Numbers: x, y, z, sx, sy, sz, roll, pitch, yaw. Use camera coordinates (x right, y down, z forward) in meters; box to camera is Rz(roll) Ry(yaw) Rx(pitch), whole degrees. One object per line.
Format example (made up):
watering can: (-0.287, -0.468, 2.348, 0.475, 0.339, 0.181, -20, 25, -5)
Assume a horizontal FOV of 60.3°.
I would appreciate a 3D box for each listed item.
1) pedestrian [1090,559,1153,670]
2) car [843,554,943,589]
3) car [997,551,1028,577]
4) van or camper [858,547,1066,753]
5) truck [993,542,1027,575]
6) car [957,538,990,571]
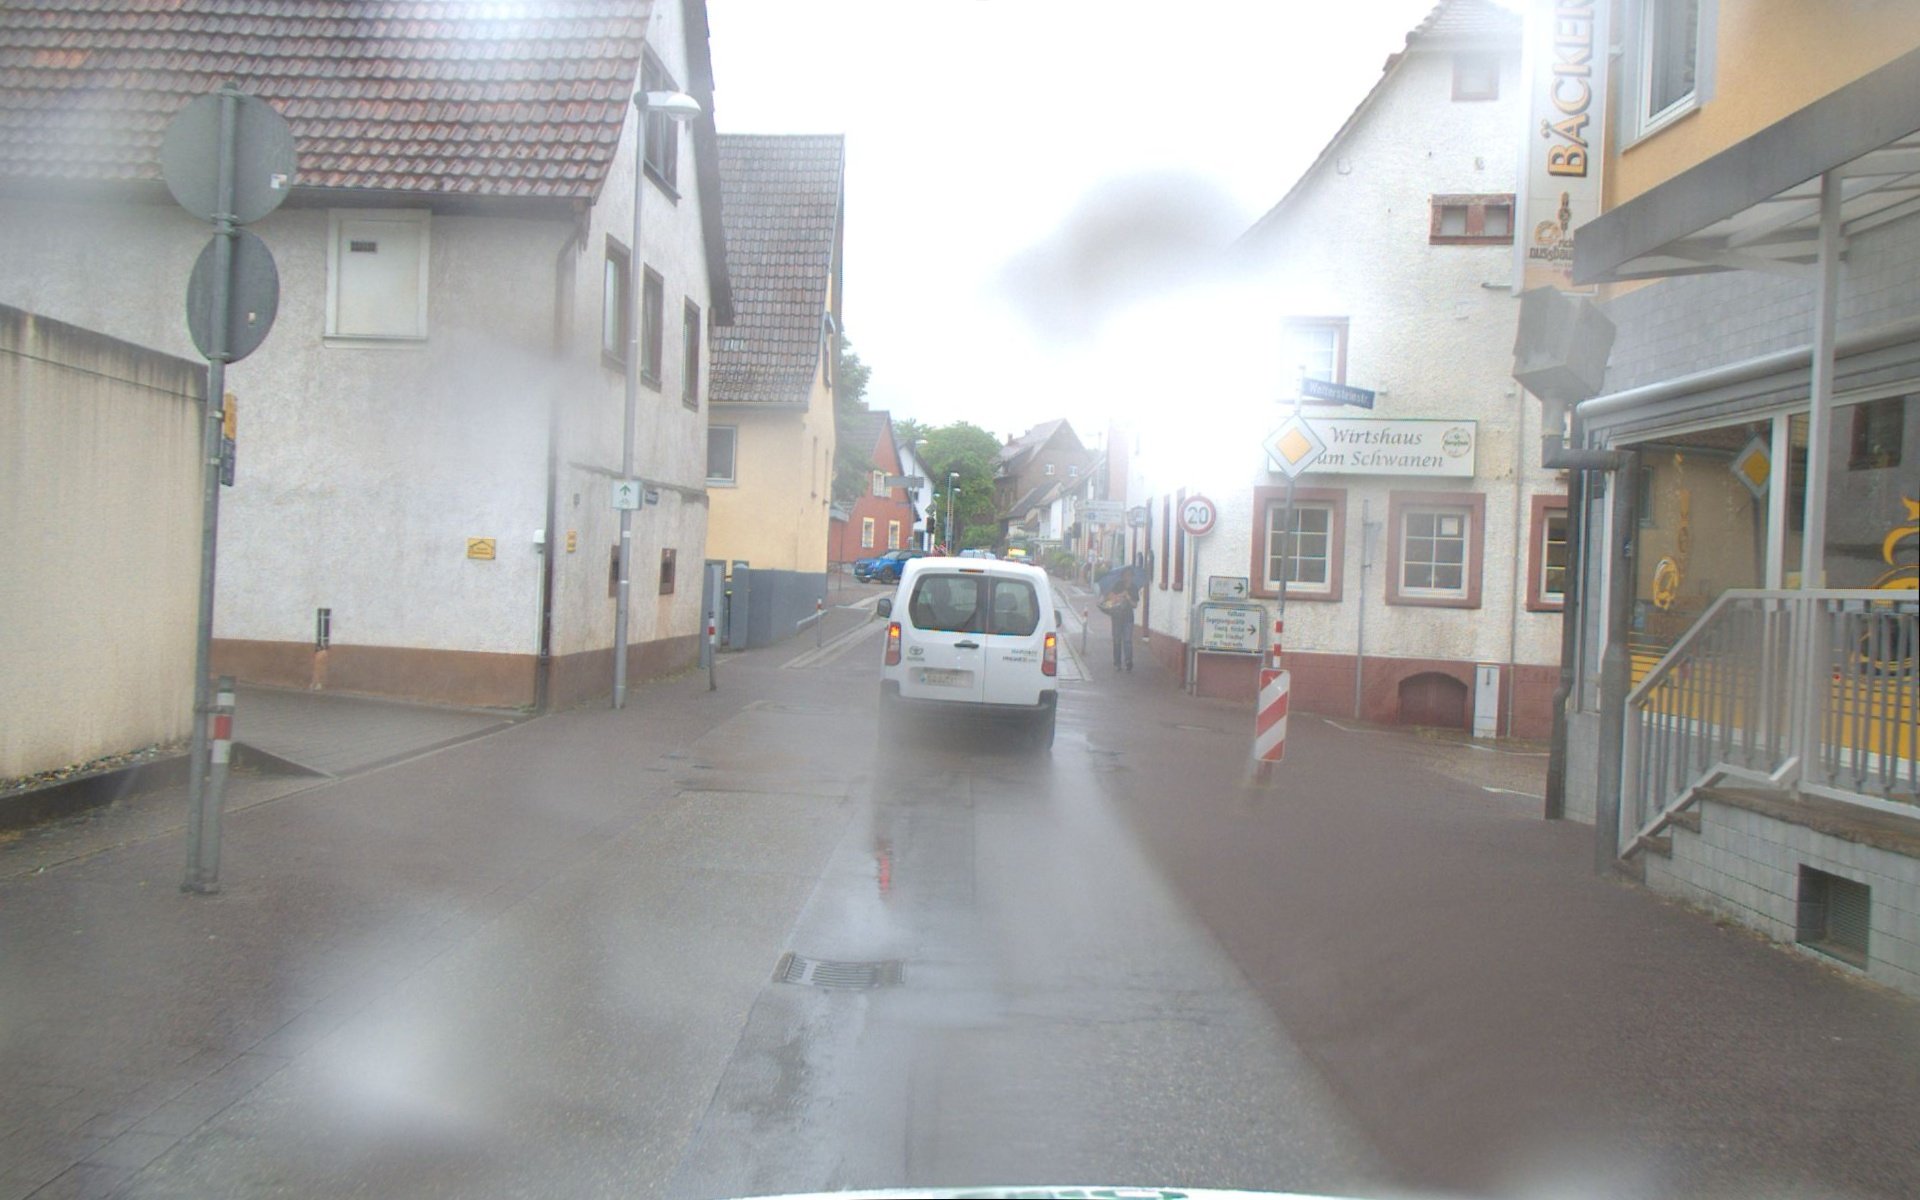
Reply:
pedestrian: (2.700, 0.225, 27.692, 0.973, 1.765, 0.812, 2, 3, 5)
car: (-2.944, -1.262, 73.221, 3.954, 1.397, 2.085, 1, 1, -36)
car: (3.729, -2.573, 117.987, 1.953, 1.777, 4.000, 2, 1, 0)
van or camper: (0.072, 0.469, 17.646, 1.903, 1.883, 4.001, 2, 0, 1)
truck: (3.921, -3.297, 131.126, 2.303, 2.468, 4.948, 2, 1, -2)
car: (0.779, -2.639, 95.794, 1.775, 1.809, 4.018, 2, 2, 0)
